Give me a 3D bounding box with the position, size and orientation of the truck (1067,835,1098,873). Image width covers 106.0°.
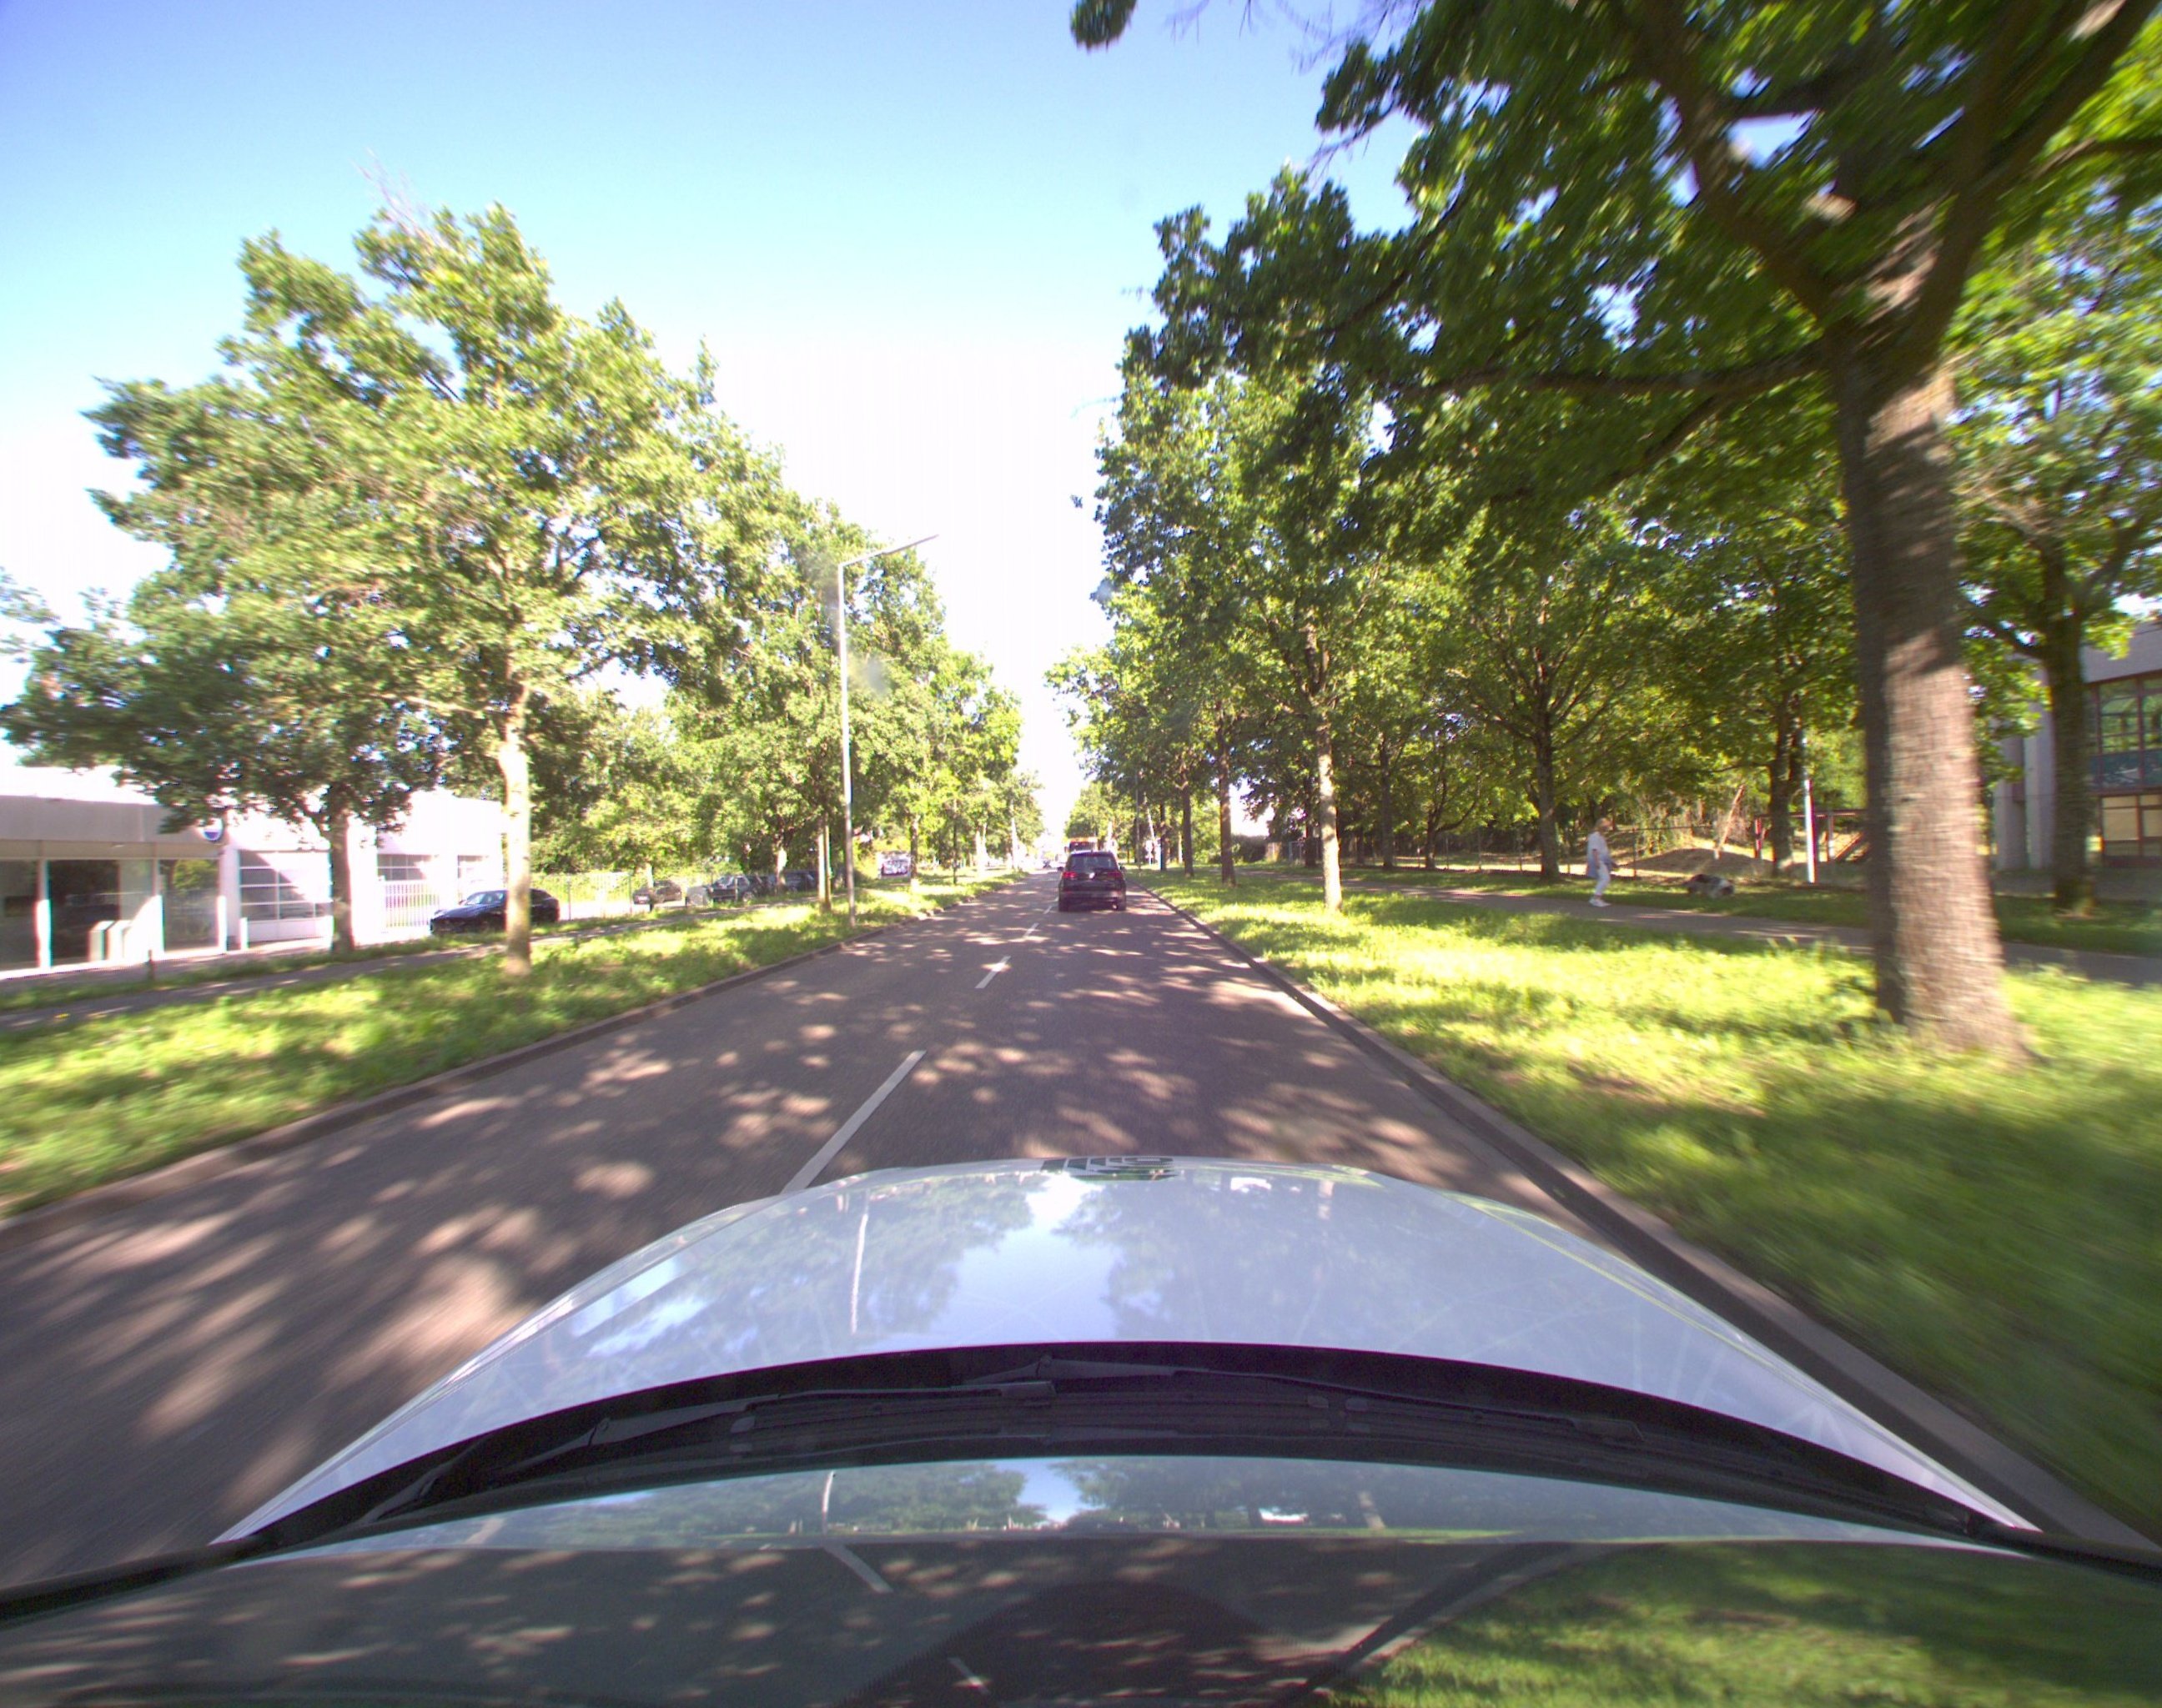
[{"bbox_3d":[0.121,0.019,74.378,2.504,3.243,8.150,-2,0,0],"label":"truck"}]

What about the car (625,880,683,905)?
[{"bbox_3d":[-30.950,2.770,59.160,1.990,1.566,4.876,0,0,-5],"label":"car"}]

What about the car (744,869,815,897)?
[{"bbox_3d":[-20.738,1.996,56.140,4.182,1.801,1.997,0,-1,-4],"label":"car"}]

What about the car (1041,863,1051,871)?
[{"bbox_3d":[-6.593,2.507,154.415,1.559,1.504,4.002,0,0,2],"label":"car"}]

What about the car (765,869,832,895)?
[{"bbox_3d":[-20.414,1.990,58.993,4.182,1.801,1.997,0,-1,-4],"label":"car"}]

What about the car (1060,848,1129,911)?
[{"bbox_3d":[0.352,0.676,23.318,1.776,1.633,3.999,0,0,0],"label":"car"}]

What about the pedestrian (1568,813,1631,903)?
[{"bbox_3d":[9.821,0.082,15.431,0.612,1.631,0.711,-4,0,-33],"label":"pedestrian"}]

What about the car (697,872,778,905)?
[{"bbox_3d":[-20.337,2.028,48.365,3.982,1.801,1.996,0,-1,-6],"label":"car"}]

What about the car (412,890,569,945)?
[{"bbox_3d":[-21.113,2.224,29.458,1.987,1.598,5.015,0,0,0],"label":"car"}]
